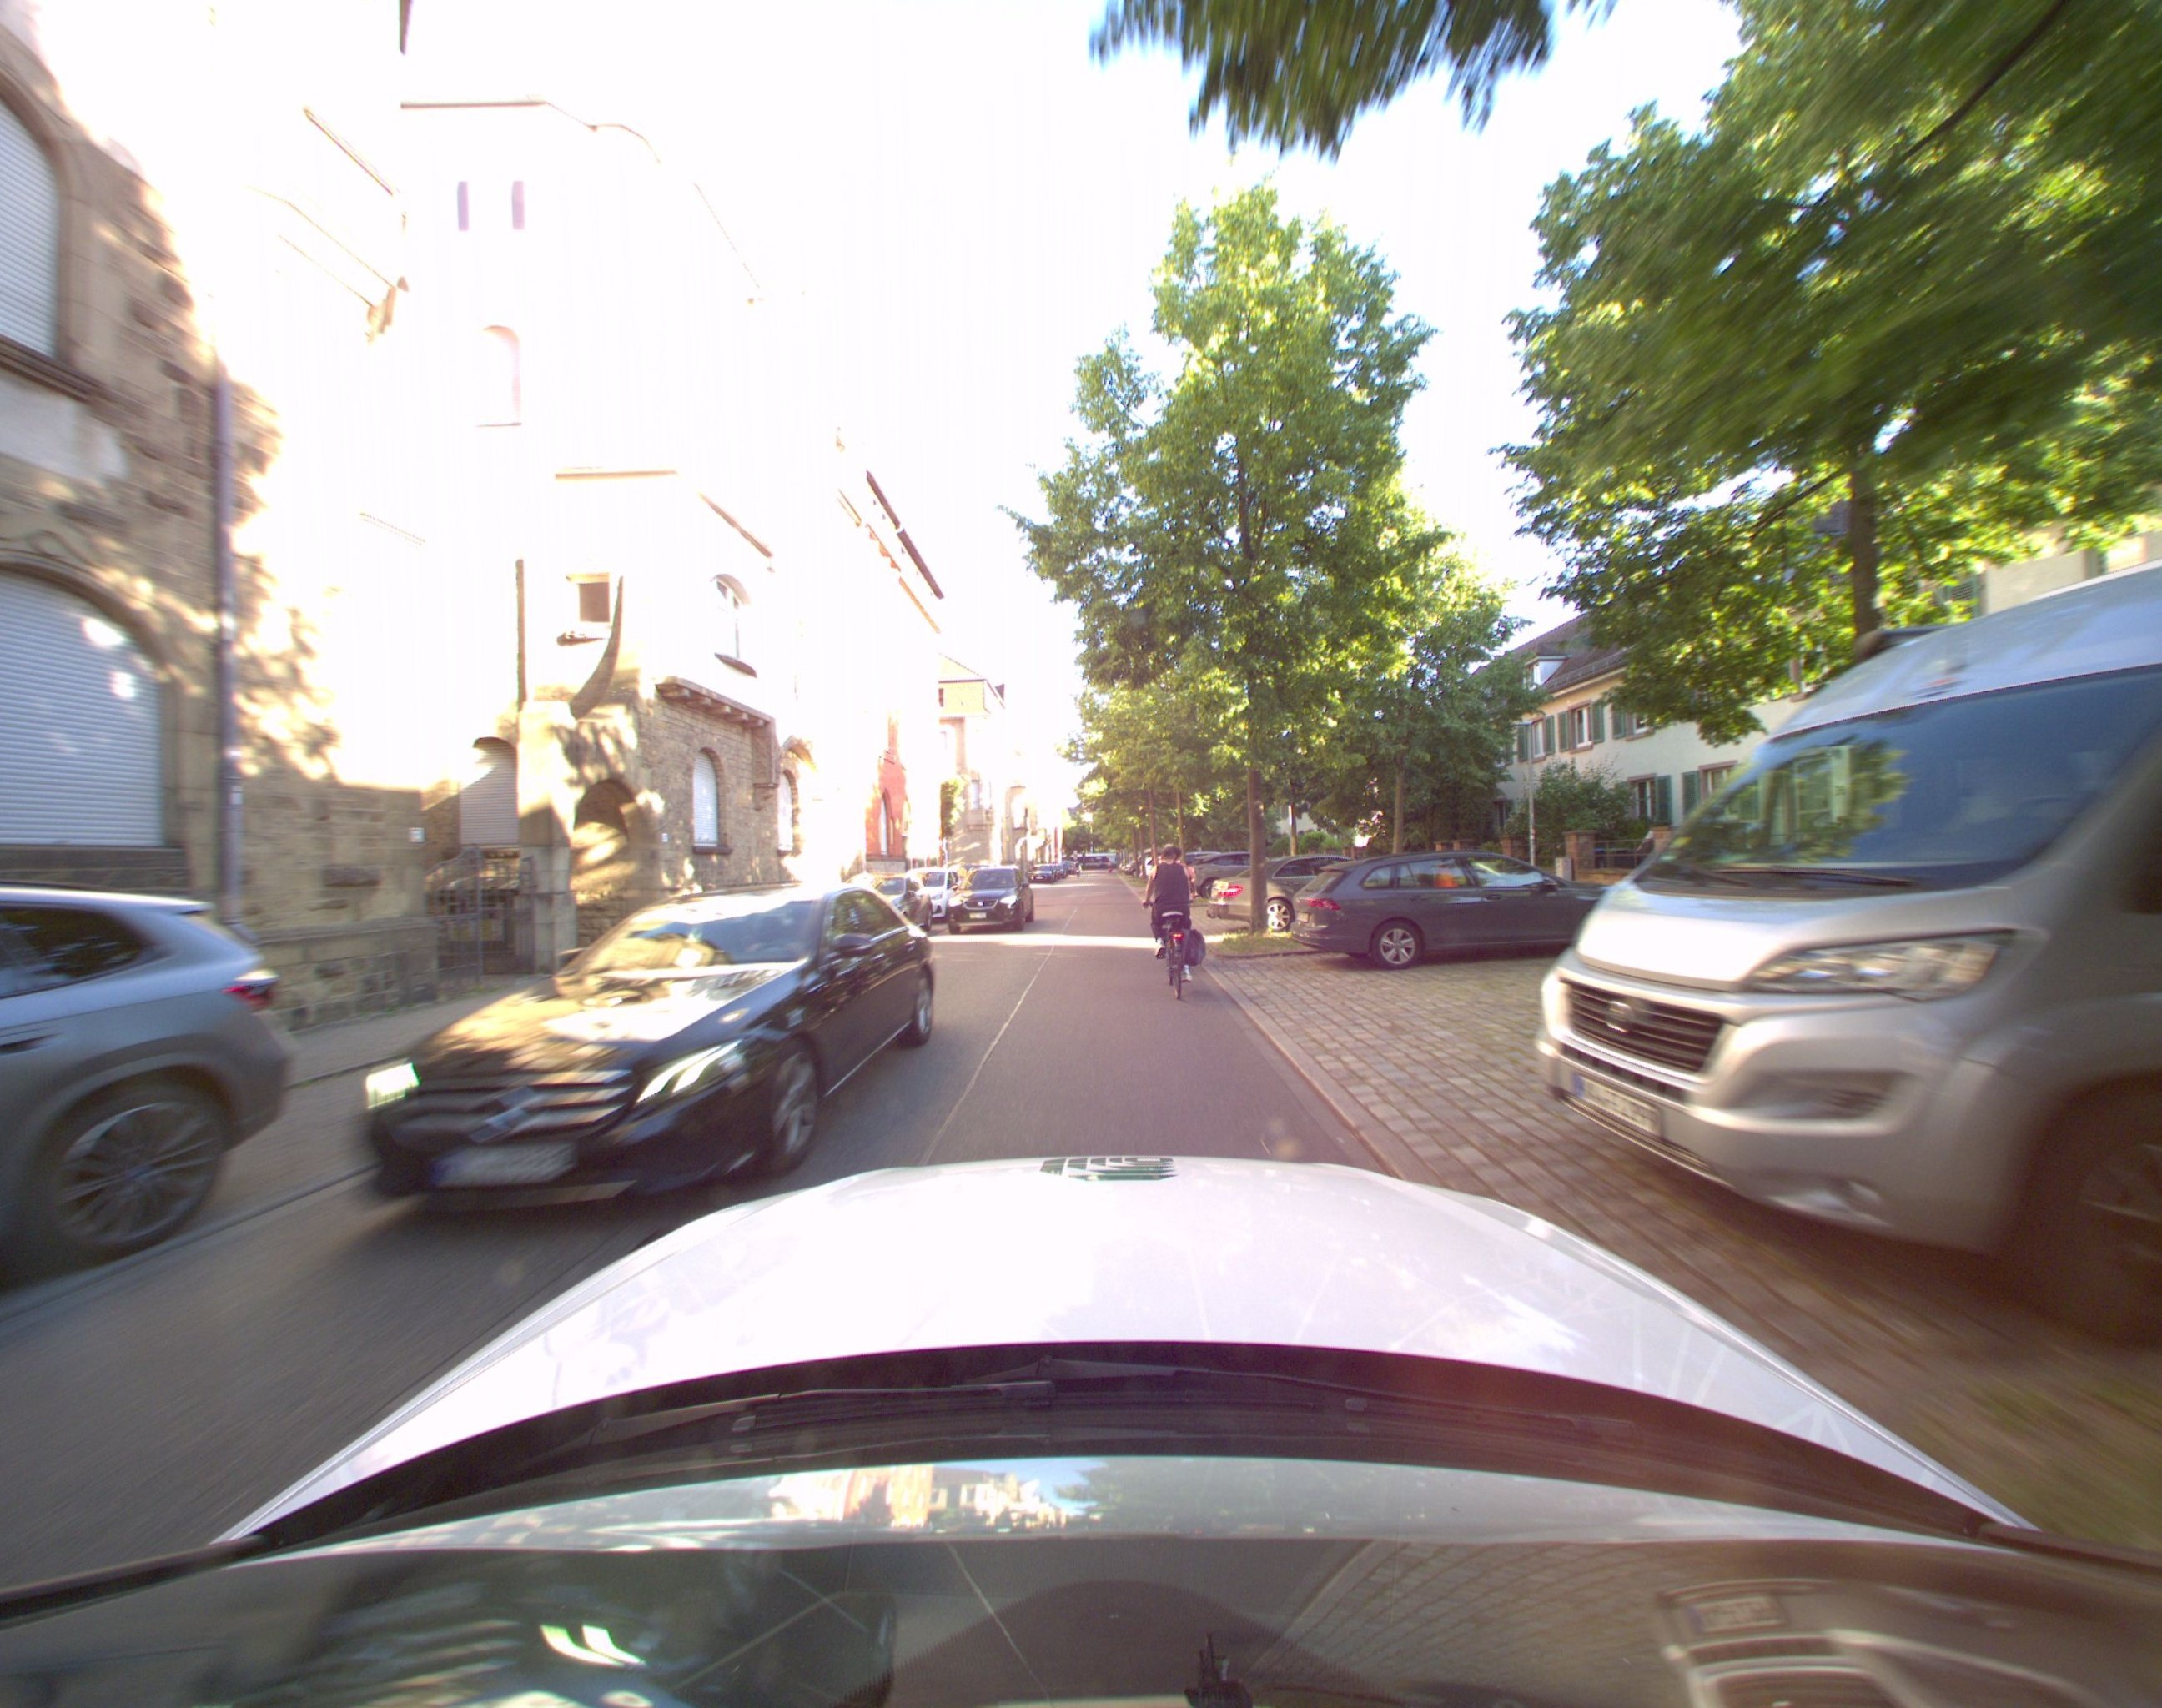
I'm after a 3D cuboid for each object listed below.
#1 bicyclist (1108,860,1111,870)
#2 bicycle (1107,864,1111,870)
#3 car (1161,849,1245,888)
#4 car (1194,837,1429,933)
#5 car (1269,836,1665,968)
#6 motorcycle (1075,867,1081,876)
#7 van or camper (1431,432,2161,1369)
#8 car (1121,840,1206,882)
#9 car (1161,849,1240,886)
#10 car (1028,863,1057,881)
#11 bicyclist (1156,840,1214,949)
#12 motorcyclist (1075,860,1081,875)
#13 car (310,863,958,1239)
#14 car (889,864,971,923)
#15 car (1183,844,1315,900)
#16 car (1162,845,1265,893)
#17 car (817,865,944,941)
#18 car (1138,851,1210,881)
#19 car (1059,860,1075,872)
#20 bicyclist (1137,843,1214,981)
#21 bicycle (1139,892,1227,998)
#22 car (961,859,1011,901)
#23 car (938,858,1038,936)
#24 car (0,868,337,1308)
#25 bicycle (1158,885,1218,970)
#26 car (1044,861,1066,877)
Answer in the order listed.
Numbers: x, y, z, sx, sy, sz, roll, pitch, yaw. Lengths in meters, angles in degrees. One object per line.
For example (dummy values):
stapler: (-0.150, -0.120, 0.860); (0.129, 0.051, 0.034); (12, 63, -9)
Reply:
bicyclist: (3.968, 1.520, 113.540); (0.415, 1.350, 0.430); (-2, -2, 1)
bicycle: (3.937, 1.848, 113.464); (0.539, 0.828, 1.919); (-2, -2, 2)
car: (6.518, 0.777, 43.751); (4.226, 1.797, 1.856); (-3, -2, 2)
car: (4.610, 0.620, 16.680); (4.232, 1.606, 1.752); (-3, -2, -2)
car: (5.021, 0.626, 11.106); (4.484, 1.453, 1.817); (-3, -1, 2)
motorcycle: (-0.256, 1.735, 79.660); (0.549, 0.801, 1.307); (-3, 0, -1)
van or camper: (4.825, -0.034, 3.444); (5.557, 2.536, 2.268); (-4, -2, -1)
car: (7.358, 0.663, 73.283); (7.304, 3.282, 2.224); (-3, -2, 2)
car: (6.762, 0.792, 46.480); (4.226, 1.797, 1.856); (-3, -2, 2)
car: (-2.997, 1.415, 64.471); (1.964, 1.320, 4.001); (-2, -2, 2)
bicyclist: (1.533, 0.591, 12.158); (0.716, 1.527, 0.972); (-2, -2, 1)
motorcyclist: (-0.302, 1.300, 79.676); (0.549, 1.448, 0.688); (-3, -1, -1)
car: (-2.249, 0.895, 5.650); (1.889, 1.486, 4.383); (-3, -2, 2)
car: (-4.274, 1.086, 23.560); (1.485, 1.517, 3.776); (2, -1, 2)
car: (5.800, 0.630, 28.544); (4.226, 1.647, 1.856); (-3, -2, 2)
car: (5.800, 0.672, 35.958); (4.226, 1.840, 1.856); (-3, -2, 2)
car: (-4.465, 1.040, 18.791); (1.748, 1.517, 4.115); (2, -1, 2)
car: (6.442, 0.849, 56.760); (4.738, 1.780, 1.856); (-3, -2, 2)
car: (-1.925, 1.670, 113.330); (1.986, 1.530, 4.001); (-2, -2, 2)
bicyclist: (1.093, 0.658, 9.635); (0.704, 1.527, 0.971); (-2, -2, -3)
bicycle: (1.154, 1.014, 9.666); (0.694, 1.073, 1.966); (-2, -2, -2)
car: (-4.028, 1.115, 35.083); (1.625, 1.665, 3.968); (-2, -2, 0)
car: (-2.182, 0.987, 20.153); (1.760, 1.599, 4.091); (-5, -1, 1)
car: (-5.028, 0.875, 2.172); (2.043, 1.622, 4.393); (-2, -2, 0)
bicycle: (1.544, 1.035, 12.041); (0.554, 1.073, 1.967); (-2, -1, -2)
car: (-2.643, 1.526, 84.035); (1.986, 1.530, 4.001); (-2, -2, 2)
